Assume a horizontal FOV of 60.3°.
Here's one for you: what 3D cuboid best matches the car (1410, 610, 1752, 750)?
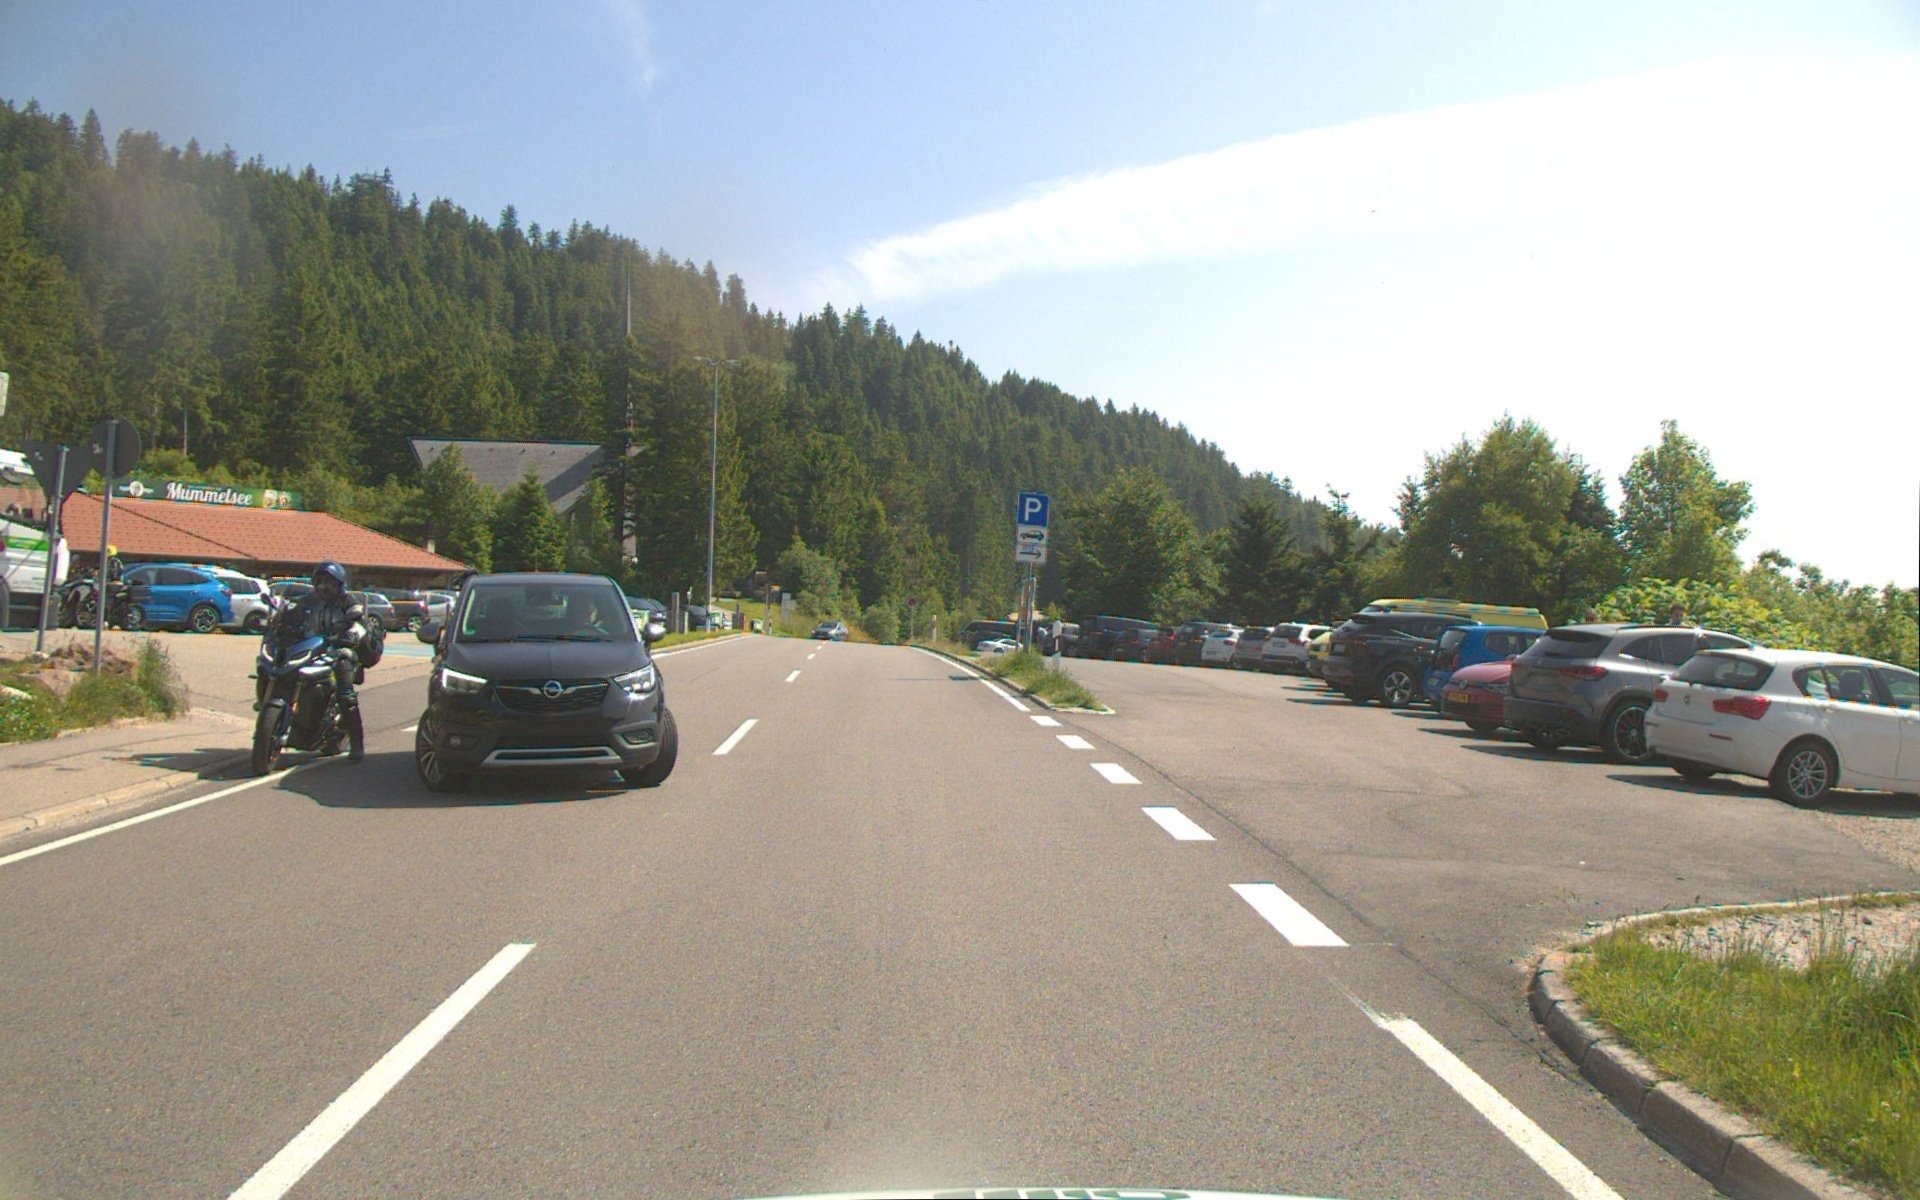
[{"bbox_3d":[8.371,1.067,22.400,3.918,1.536,1.837,4,0,-13],"label":"car"}]

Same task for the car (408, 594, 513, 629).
[{"bbox_3d":[-21.651,0.517,71.812,1.873,1.445,3.976,1,0,41],"label":"car"}]

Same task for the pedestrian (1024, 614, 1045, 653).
[{"bbox_3d":[3.557,1.580,78.928,0.570,1.791,0.630,3,-3,40],"label":"pedestrian"}]

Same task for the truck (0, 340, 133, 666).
[{"bbox_3d":[-14.882,-1.496,19.334,3.008,4.040,8.742,4,-1,34],"label":"truck"}]

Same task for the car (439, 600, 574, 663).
[{"bbox_3d":[-12.508,0.851,45.483,1.794,1.567,4.123,1,0,-45],"label":"car"}]

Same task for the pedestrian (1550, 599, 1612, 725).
[{"bbox_3d":[8.929,0.879,23.780,0.495,1.754,0.565,5,-1,-16],"label":"pedestrian"}]

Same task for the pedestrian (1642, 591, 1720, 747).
[{"bbox_3d":[9.295,0.876,21.339,0.596,1.933,0.679,4,-1,3],"label":"pedestrian"}]

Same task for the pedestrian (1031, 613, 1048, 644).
[{"bbox_3d":[3.718,1.320,76.886,0.757,1.427,0.669,1,0,3],"label":"pedestrian"}]

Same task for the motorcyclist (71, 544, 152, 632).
[{"bbox_3d":[-18.167,-0.237,35.408,1.235,1.750,1.050,6,-4,-38],"label":"motorcyclist"}]

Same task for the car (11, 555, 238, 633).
[{"bbox_3d":[-20.265,-0.121,40.244,1.904,1.693,4.519,1,-1,41],"label":"car"}]

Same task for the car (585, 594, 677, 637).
[{"bbox_3d":[-12.965,0.595,65.084,1.768,1.579,3.939,2,0,-42],"label":"car"}]

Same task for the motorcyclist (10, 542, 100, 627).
[{"bbox_3d":[-20.245,-0.343,37.003,0.910,1.747,1.443,4,-1,43],"label":"motorcyclist"}]

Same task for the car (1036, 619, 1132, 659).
[{"bbox_3d":[5.682,1.779,75.598,3.936,1.468,1.826,6,-2,-25],"label":"car"}]

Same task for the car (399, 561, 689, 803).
[{"bbox_3d":[-3.271,0.557,13.489,1.945,1.645,4.138,0,0,-11],"label":"car"}]

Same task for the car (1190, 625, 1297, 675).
[{"bbox_3d":[10.524,1.867,61.273,3.964,1.501,1.742,6,-2,-41],"label":"car"}]

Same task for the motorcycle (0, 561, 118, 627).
[{"bbox_3d":[-20.254,-0.130,37.038,0.864,1.278,2.262,4,-1,43],"label":"motorcycle"}]

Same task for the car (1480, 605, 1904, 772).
[{"bbox_3d":[8.700,1.042,19.771,4.323,1.595,1.901,4,0,-14],"label":"car"}]

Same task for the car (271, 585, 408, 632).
[{"bbox_3d":[-20.985,0.317,56.052,1.685,1.512,4.056,1,0,41],"label":"car"}]

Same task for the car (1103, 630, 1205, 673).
[{"bbox_3d":[8.170,2.153,69.496,3.946,1.439,1.727,6,-2,-31],"label":"car"}]

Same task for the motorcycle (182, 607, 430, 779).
[{"bbox_3d":[-5.394,0.718,13.841,0.794,1.287,2.329,1,0,11],"label":"motorcycle"}]

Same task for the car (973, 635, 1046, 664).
[{"bbox_3d":[3.230,3.228,107.402,4.389,1.321,1.573,8,-2,-20],"label":"car"}]

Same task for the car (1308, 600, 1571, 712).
[{"bbox_3d":[8.307,0.955,28.816,3.913,1.641,1.913,4,0,-9],"label":"car"}]

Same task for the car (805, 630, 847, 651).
[{"bbox_3d":[-9.622,2.887,119.044,1.549,1.454,3.369,1,0,26],"label":"car"}]

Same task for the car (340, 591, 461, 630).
[{"bbox_3d":[-21.136,0.401,62.602,3.965,1.395,1.785,1,0,-42],"label":"car"}]

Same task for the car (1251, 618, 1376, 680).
[{"bbox_3d":[11.714,1.623,54.684,4.189,1.724,1.836,5,-2,-41],"label":"car"}]

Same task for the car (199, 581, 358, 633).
[{"bbox_3d":[-20.410,0.227,49.627,1.879,1.455,3.978,1,0,41],"label":"car"}]

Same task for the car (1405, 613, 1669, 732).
[{"bbox_3d":[9.100,1.120,26.250,3.510,1.521,1.647,5,0,-2],"label":"car"}]

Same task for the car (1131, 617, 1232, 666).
[{"bbox_3d":[8.981,1.683,67.037,3.964,1.617,1.836,6,-2,-41],"label":"car"}]

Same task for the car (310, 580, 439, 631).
[{"bbox_3d":[-20.902,0.199,59.114,3.968,1.733,1.797,1,0,-44],"label":"car"}]

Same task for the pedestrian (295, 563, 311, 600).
[{"bbox_3d":[-35.076,-0.979,88.255,0.537,1.906,0.525,1,-2,40],"label":"pedestrian"}]

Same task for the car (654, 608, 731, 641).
[{"bbox_3d":[-14.776,1.349,91.220,4.127,1.662,1.782,1,-3,37],"label":"car"}]

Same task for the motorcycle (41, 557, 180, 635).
[{"bbox_3d":[-18.163,-0.070,35.398,2.420,1.431,0.992,6,-4,-39],"label":"motorcycle"}]

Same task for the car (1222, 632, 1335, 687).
[{"bbox_3d":[11.261,2.098,58.324,3.964,1.576,1.794,6,-2,-41],"label":"car"}]

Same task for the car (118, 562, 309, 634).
[{"bbox_3d":[-20.667,-0.039,45.921,1.804,1.896,4.499,1,0,43],"label":"car"}]

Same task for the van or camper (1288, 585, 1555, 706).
[{"bbox_3d":[9.668,0.937,34.926,4.988,2.048,1.882,5,0,0],"label":"van or camper"}]

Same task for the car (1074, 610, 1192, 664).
[{"bbox_3d":[7.576,1.623,72.505,4.693,1.912,1.953,6,-2,-23],"label":"car"}]

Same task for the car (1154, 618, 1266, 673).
[{"bbox_3d":[9.658,1.762,63.742,4.235,1.724,1.961,6,-2,-41],"label":"car"}]

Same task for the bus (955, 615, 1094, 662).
[{"bbox_3d":[6.054,3.596,155.999,12.588,3.640,2.984,3,0,13],"label":"bus"}]

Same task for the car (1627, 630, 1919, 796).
[{"bbox_3d":[9.025,1.169,16.765,3.919,1.409,1.652,5,-1,-13],"label":"car"}]

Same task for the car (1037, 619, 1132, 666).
[{"bbox_3d":[5.930,2.020,78.656,3.946,1.690,1.980,9,-4,-30],"label":"car"}]

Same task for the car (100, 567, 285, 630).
[{"bbox_3d":[-20.180,-0.023,43.568,1.965,1.573,3.974,1,0,43],"label":"car"}]

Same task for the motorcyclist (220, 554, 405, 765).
[{"bbox_3d":[-5.393,0.470,13.856,0.860,1.670,1.300,1,0,11],"label":"motorcyclist"}]
